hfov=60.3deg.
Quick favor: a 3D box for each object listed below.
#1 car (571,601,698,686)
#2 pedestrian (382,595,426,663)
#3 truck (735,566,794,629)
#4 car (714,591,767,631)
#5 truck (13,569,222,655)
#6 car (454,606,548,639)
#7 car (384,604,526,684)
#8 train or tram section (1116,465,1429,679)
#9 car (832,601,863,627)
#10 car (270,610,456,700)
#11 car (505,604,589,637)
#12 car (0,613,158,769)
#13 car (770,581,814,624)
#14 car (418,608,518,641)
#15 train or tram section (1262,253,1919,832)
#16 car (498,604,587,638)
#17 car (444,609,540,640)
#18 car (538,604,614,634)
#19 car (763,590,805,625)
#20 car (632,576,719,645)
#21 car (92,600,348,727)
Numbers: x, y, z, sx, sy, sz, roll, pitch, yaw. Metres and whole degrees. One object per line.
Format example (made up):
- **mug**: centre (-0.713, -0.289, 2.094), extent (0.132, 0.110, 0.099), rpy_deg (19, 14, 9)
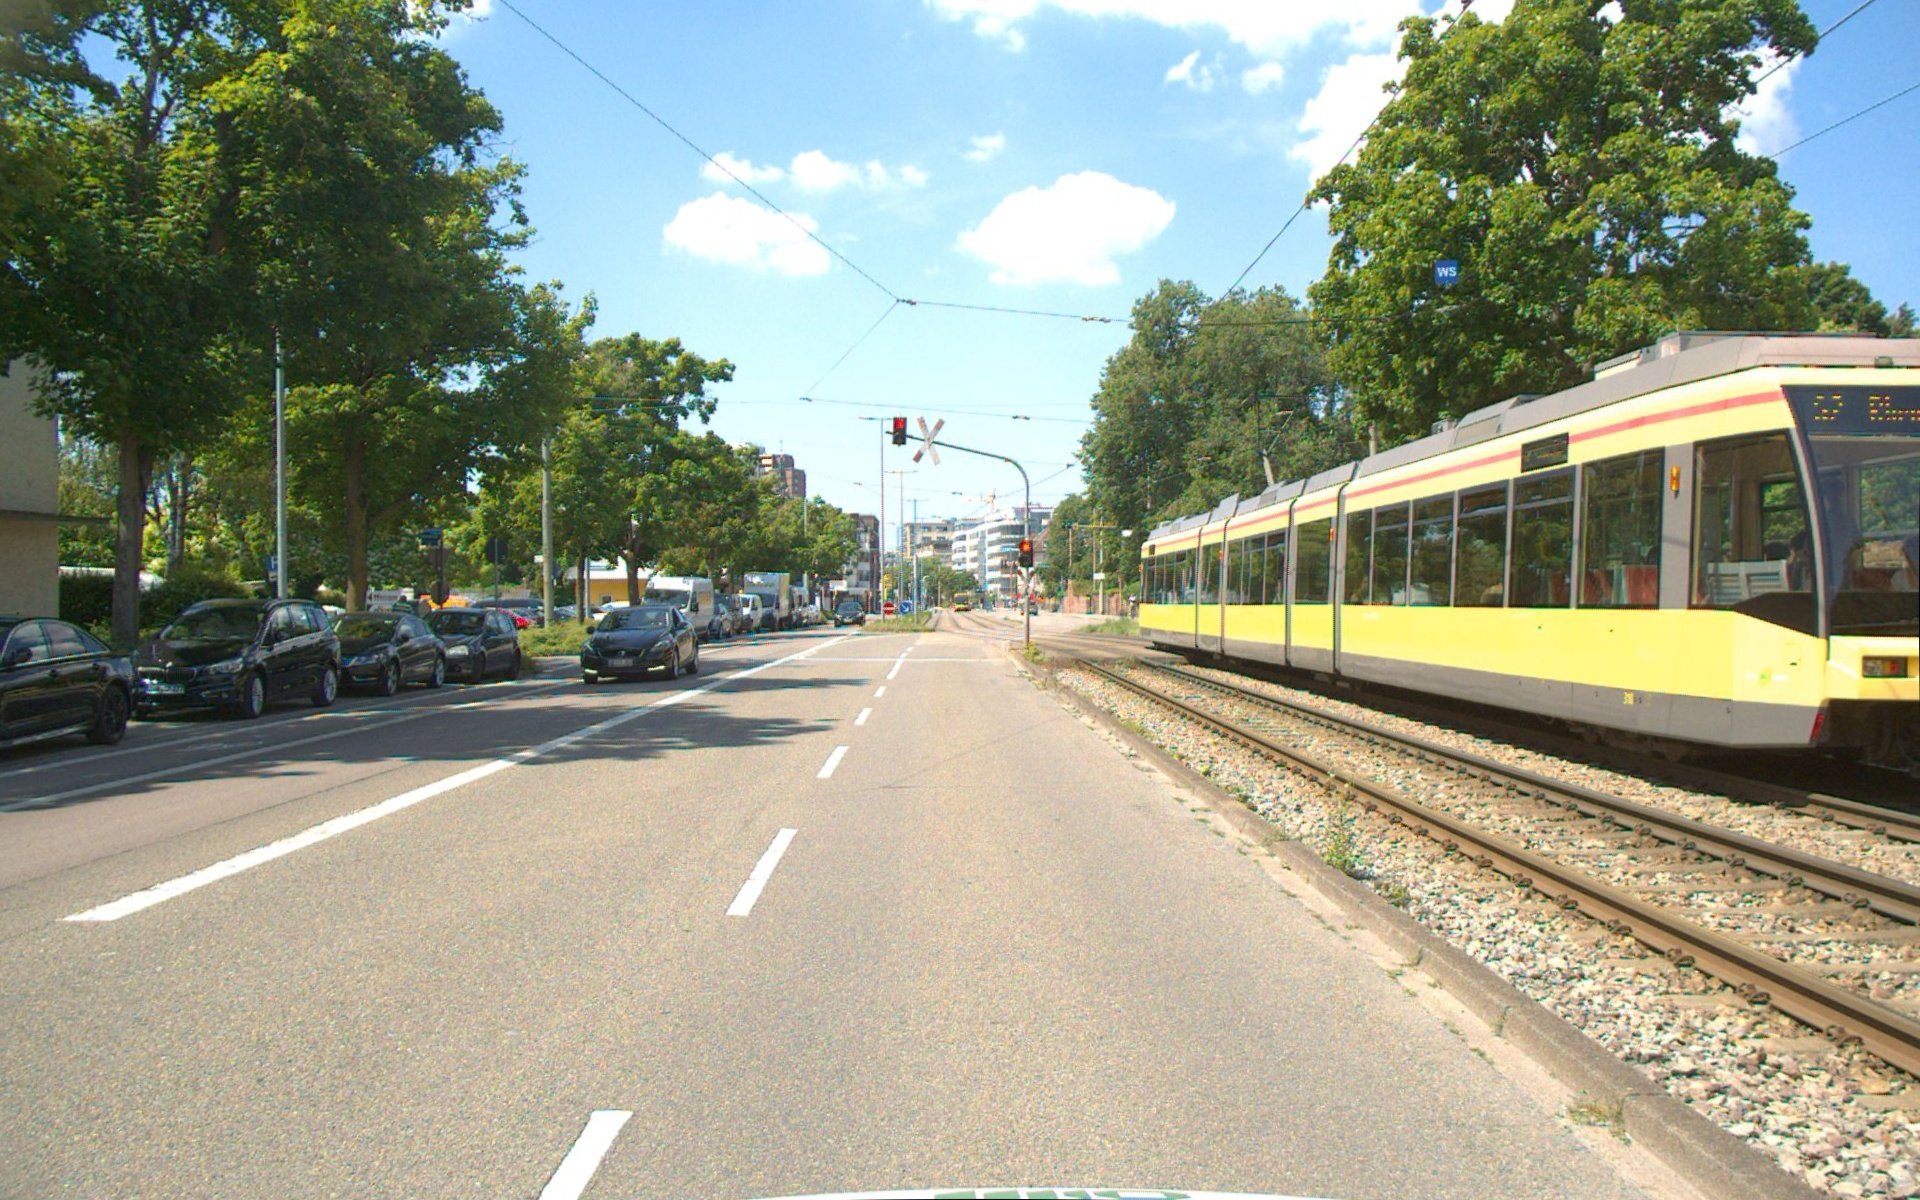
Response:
- **car**: centre (-6.269, 0.793, 32.271), extent (1.739, 1.485, 4.193), rpy_deg (-2, 0, -2)
- **pedestrian**: centre (-15.426, 0.788, 45.867), extent (0.955, 1.855, 0.794), rpy_deg (-1, 0, -4)
- **truck**: centre (-10.868, -0.134, 92.558), extent (2.112, 3.266, 7.084), rpy_deg (3, 0, 2)
- **car**: centre (-11.145, 0.551, 84.185), extent (2.019, 1.931, 4.871), rpy_deg (-1, 0, 0)
- **truck**: centre (-33.527, 0.477, 65.988), extent (7.043, 3.284, 2.331), rpy_deg (-1, 0, -3)
- **car**: centre (-21.657, 1.034, 78.141), extent (3.906, 1.467, 1.805), rpy_deg (-1, 0, -1)
- **car**: centre (-10.455, 0.874, 34.520), extent (1.738, 1.506, 4.047), rpy_deg (1, 0, -1)
- **train or tram section**: centre (6.478, -0.531, 39.317), extent (2.884, 3.756, 20.275), rpy_deg (1, 0, -2)
- **car**: centre (-6.749, 0.831, 99.654), extent (1.644, 1.422, 4.004), rpy_deg (-3, 0, -1)
- **car**: centre (-10.560, 0.927, 29.643), extent (1.739, 1.397, 4.695), rpy_deg (2, 0, -2)
- **car**: centre (-21.394, 1.058, 85.778), extent (3.906, 1.634, 1.804), rpy_deg (-1, 0, -2)
- **car**: centre (-10.233, 0.900, 17.058), extent (1.739, 1.481, 4.802), rpy_deg (0, 0, -2)
- **car**: centre (-10.900, 0.147, 107.791), extent (2.112, 2.685, 5.612), rpy_deg (1, 0, 2)
- **car**: centre (-21.840, 1.073, 73.547), extent (3.906, 1.363, 1.804), rpy_deg (-1, 0, -2)
- **train or tram section**: centre (6.745, -0.395, 19.961), extent (2.883, 3.756, 18.389), rpy_deg (1, 0, 0)
- **car**: centre (-20.563, 1.030, 81.508), extent (3.906, 1.634, 1.804), rpy_deg (-1, 0, -2)
- **car**: centre (-21.507, 1.111, 76.112), extent (3.906, 1.363, 1.804), rpy_deg (-1, 0, -2)
- **car**: centre (-21.744, 1.090, 93.753), extent (3.906, 1.634, 1.804), rpy_deg (-1, 0, -2)
- **car**: centre (-10.556, 0.420, 99.500), extent (2.019, 2.011, 4.871), rpy_deg (-1, 0, 0)
- **car**: centre (-11.006, 0.376, 64.454), extent (2.112, 2.530, 6.194), rpy_deg (0, 0, 2)
- **car**: centre (-10.508, 0.836, 23.902), extent (1.739, 1.632, 4.635), rpy_deg (1, 0, -2)
